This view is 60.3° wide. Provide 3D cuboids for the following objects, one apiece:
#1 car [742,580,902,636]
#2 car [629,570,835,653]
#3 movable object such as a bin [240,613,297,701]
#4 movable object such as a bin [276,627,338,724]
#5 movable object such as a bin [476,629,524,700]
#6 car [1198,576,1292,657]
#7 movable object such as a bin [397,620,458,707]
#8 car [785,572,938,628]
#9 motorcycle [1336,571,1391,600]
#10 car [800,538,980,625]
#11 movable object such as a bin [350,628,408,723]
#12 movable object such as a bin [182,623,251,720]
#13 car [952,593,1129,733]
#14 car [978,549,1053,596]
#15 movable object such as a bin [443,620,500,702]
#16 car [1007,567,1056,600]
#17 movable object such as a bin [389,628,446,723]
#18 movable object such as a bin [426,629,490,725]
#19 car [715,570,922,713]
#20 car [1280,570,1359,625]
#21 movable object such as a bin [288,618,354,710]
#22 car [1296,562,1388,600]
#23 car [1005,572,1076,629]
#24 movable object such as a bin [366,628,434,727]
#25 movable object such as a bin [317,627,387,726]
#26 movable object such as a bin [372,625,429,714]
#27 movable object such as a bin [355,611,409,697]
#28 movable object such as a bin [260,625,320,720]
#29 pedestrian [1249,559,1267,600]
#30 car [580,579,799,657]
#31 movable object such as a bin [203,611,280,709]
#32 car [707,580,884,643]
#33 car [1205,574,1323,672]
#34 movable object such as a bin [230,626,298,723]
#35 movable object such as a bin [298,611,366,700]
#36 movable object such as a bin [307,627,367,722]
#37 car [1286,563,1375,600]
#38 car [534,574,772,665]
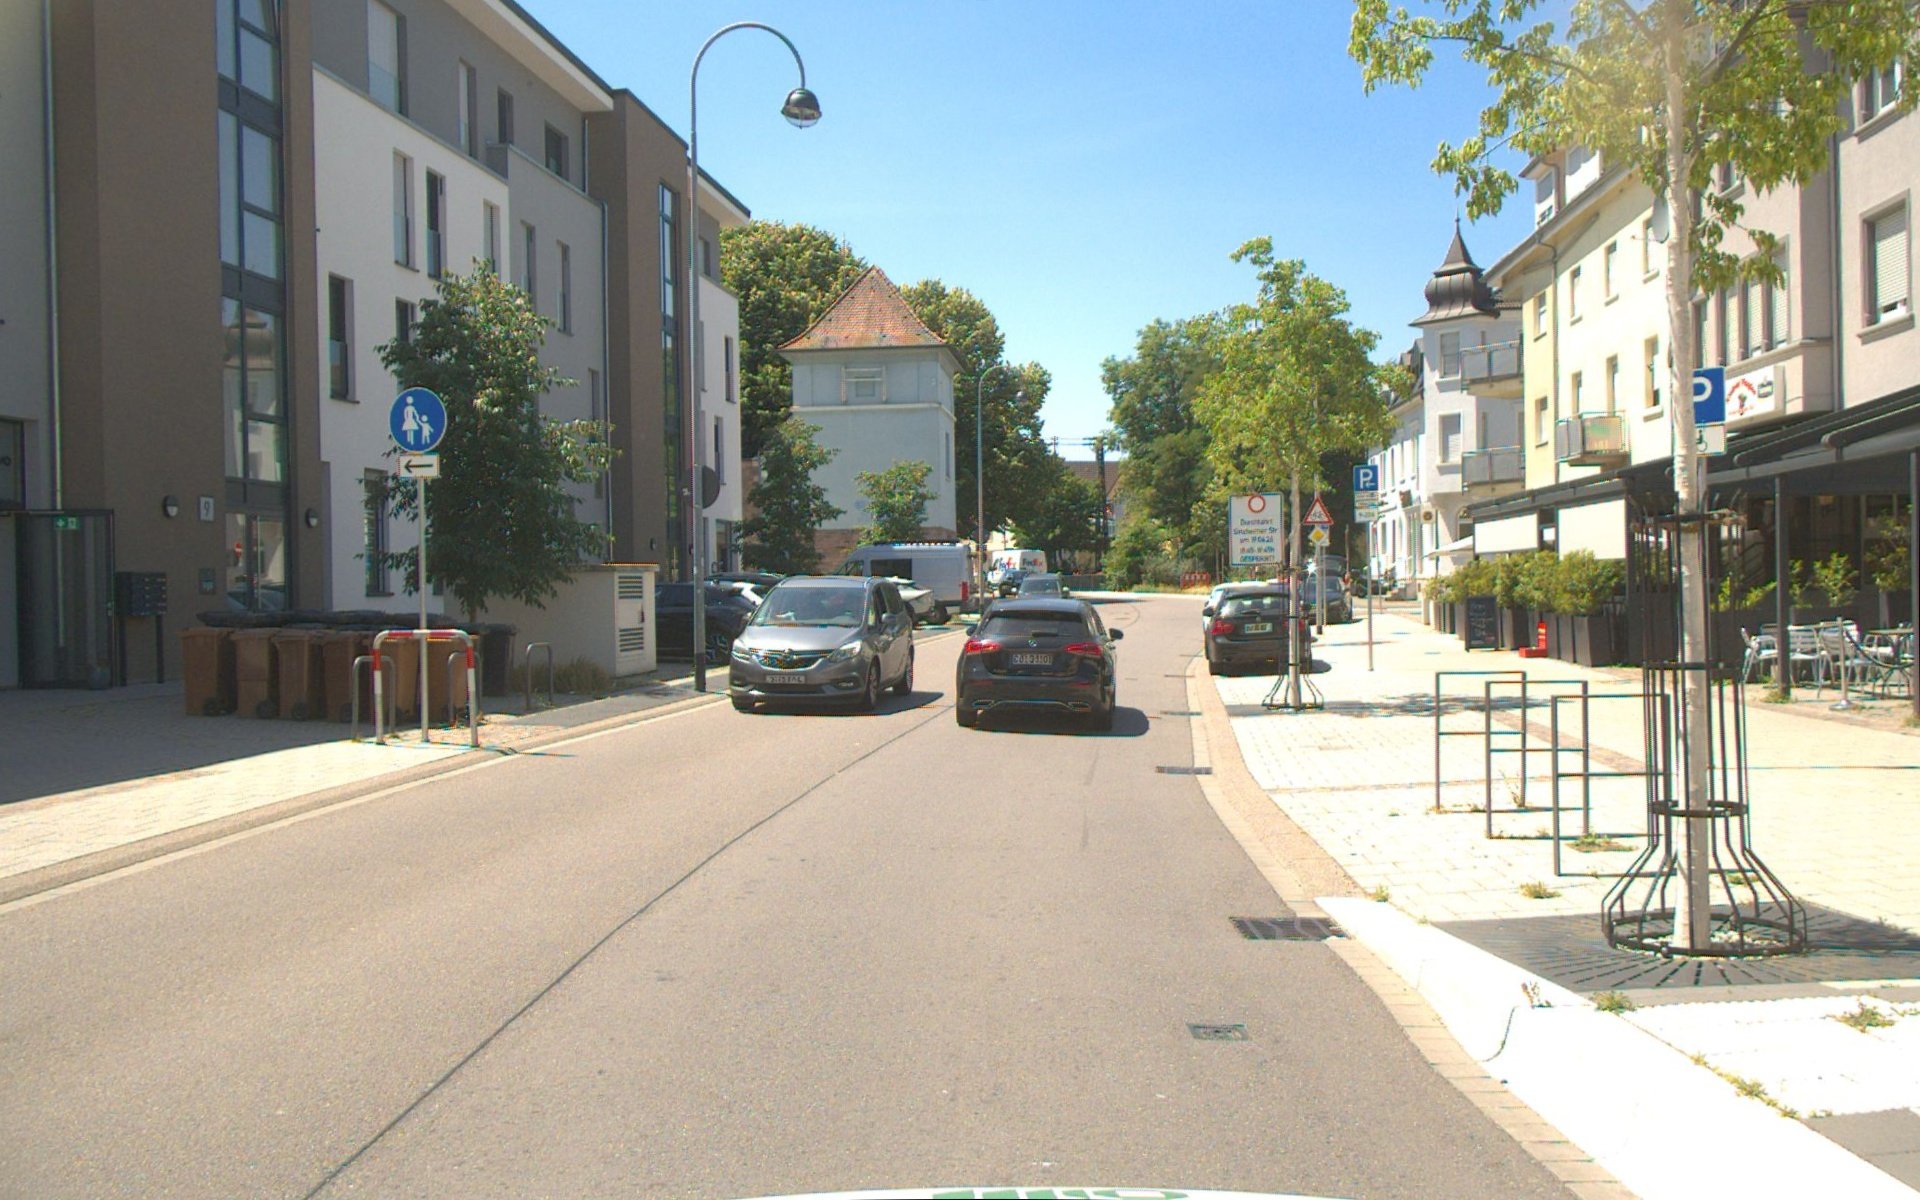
[{"bbox_3d":[-3.737,0.208,45.193,4.112,1.463,1.887,1,0,3],"label":"car"},{"bbox_3d":[-4.856,0.232,35.480,3.946,1.680,2.002,1,0,9],"label":"car"},{"bbox_3d":[-8.512,0.698,20.366,0.544,1.057,0.480,-1,0,-10],"label":"movable object such as a bin"},{"bbox_3d":[-6.966,0.799,17.656,0.415,1.015,0.524,-1,0,7],"label":"movable object such as a bin"},{"bbox_3d":[-5.947,0.833,21.417,0.544,0.883,0.480,-1,0,-10],"label":"movable object such as a bin"},{"bbox_3d":[6.070,0.312,34.904,1.700,1.512,4.058,-3,0,12],"label":"car"},{"bbox_3d":[-6.532,0.770,20.316,0.542,1.038,0.560,-1,0,3],"label":"movable object such as a bin"},{"bbox_3d":[-2.977,-0.007,50.546,4.359,1.619,2.002,1,0,7],"label":"car"},{"bbox_3d":[18.088,-0.669,74.176,2.326,1.297,0.857,0,1,7],"label":"motorcycle"},{"bbox_3d":[-2.300,-0.618,55.303,5.644,2.780,2.293,1,0,8],"label":"car"},{"bbox_3d":[-6.367,0.819,18.147,0.394,1.015,0.556,-1,0,6],"label":"movable object such as a bin"},{"bbox_3d":[-8.084,0.766,17.986,0.473,1.015,0.588,-1,0,0],"label":"movable object such as a bin"},{"bbox_3d":[1.062,0.691,19.759,1.789,1.467,4.003,1,-1,7],"label":"car"},{"bbox_3d":[3.294,-1.635,99.347,2.104,2.676,5.226,0,-1,-29],"label":"car"},{"bbox_3d":[-6.154,0.768,20.835,0.542,1.015,0.427,-1,0,8],"label":"movable object such as a bin"},{"bbox_3d":[3.623,-0.869,84.618,1.857,1.580,4.793,-1,2,-6],"label":"car"},{"bbox_3d":[-5.949,0.823,18.150,0.394,1.015,0.556,-1,0,6],"label":"movable object such as a bin"},{"bbox_3d":[-5.487,0.832,18.092,0.473,1.015,0.588,-1,0,6],"label":"movable object such as a bin"},{"bbox_3d":[-1.739,0.482,21.766,1.901,1.687,4.239,0,0,7],"label":"car"},{"bbox_3d":[11.351,-0.105,52.045,1.833,1.517,3.863,-2,2,21],"label":"car"},{"bbox_3d":[-7.564,0.749,19.593,0.608,1.057,0.581,-1,0,-10],"label":"movable object such as a bin"},{"bbox_3d":[17.964,-0.886,77.944,3.989,1.746,1.857,1,0,5],"label":"car"},{"bbox_3d":[2.674,0.023,54.104,1.772,1.731,4.079,-3,-1,10],"label":"car"},{"bbox_3d":[-5.928,0.817,17.525,0.473,1.015,0.588,-1,0,5],"label":"movable object such as a bin"},{"bbox_3d":[-6.445,0.808,17.544,0.472,1.015,0.588,-1,0,6],"label":"movable object such as a bin"},{"bbox_3d":[-6.620,0.816,19.569,0.543,1.015,0.404,-1,0,-6],"label":"movable object such as a bin"},{"bbox_3d":[-7.351,0.677,21.049,0.565,1.057,0.549,-1,0,-10],"label":"movable object such as a bin"},{"bbox_3d":[-7.420,0.795,18.329,0.394,1.015,0.556,-1,0,6],"label":"movable object such as a bin"},{"bbox_3d":[13.633,-0.941,75.542,0.730,1.827,0.844,-1,2,14],"label":"pedestrian"},{"bbox_3d":[-5.340,0.328,32.937,3.902,1.446,1.911,1,0,8],"label":"car"},{"bbox_3d":[-8.438,0.697,19.437,0.679,1.114,0.646,-1,0,-10],"label":"movable object such as a bin"},{"bbox_3d":[-4.029,0.260,40.838,3.946,1.455,2.002,1,0,9],"label":"car"},{"bbox_3d":[5.243,0.381,28.943,1.793,1.508,4.099,-3,-1,8],"label":"car"},{"bbox_3d":[-7.461,0.791,17.742,0.473,1.015,0.527,-1,0,5],"label":"movable object such as a bin"},{"bbox_3d":[-7.705,0.671,20.314,0.663,1.057,0.603,-1,0,-10],"label":"movable object such as a bin"},{"bbox_3d":[-6.857,0.811,18.214,0.394,1.015,0.556,-1,0,6],"label":"movable object such as a bin"},{"bbox_3d":[17.869,-0.911,79.923,3.989,1.746,1.857,1,0,5],"label":"car"},{"bbox_3d":[-5.645,0.331,30.686,3.902,1.541,2.002,1,2,7],"label":"car"}]
